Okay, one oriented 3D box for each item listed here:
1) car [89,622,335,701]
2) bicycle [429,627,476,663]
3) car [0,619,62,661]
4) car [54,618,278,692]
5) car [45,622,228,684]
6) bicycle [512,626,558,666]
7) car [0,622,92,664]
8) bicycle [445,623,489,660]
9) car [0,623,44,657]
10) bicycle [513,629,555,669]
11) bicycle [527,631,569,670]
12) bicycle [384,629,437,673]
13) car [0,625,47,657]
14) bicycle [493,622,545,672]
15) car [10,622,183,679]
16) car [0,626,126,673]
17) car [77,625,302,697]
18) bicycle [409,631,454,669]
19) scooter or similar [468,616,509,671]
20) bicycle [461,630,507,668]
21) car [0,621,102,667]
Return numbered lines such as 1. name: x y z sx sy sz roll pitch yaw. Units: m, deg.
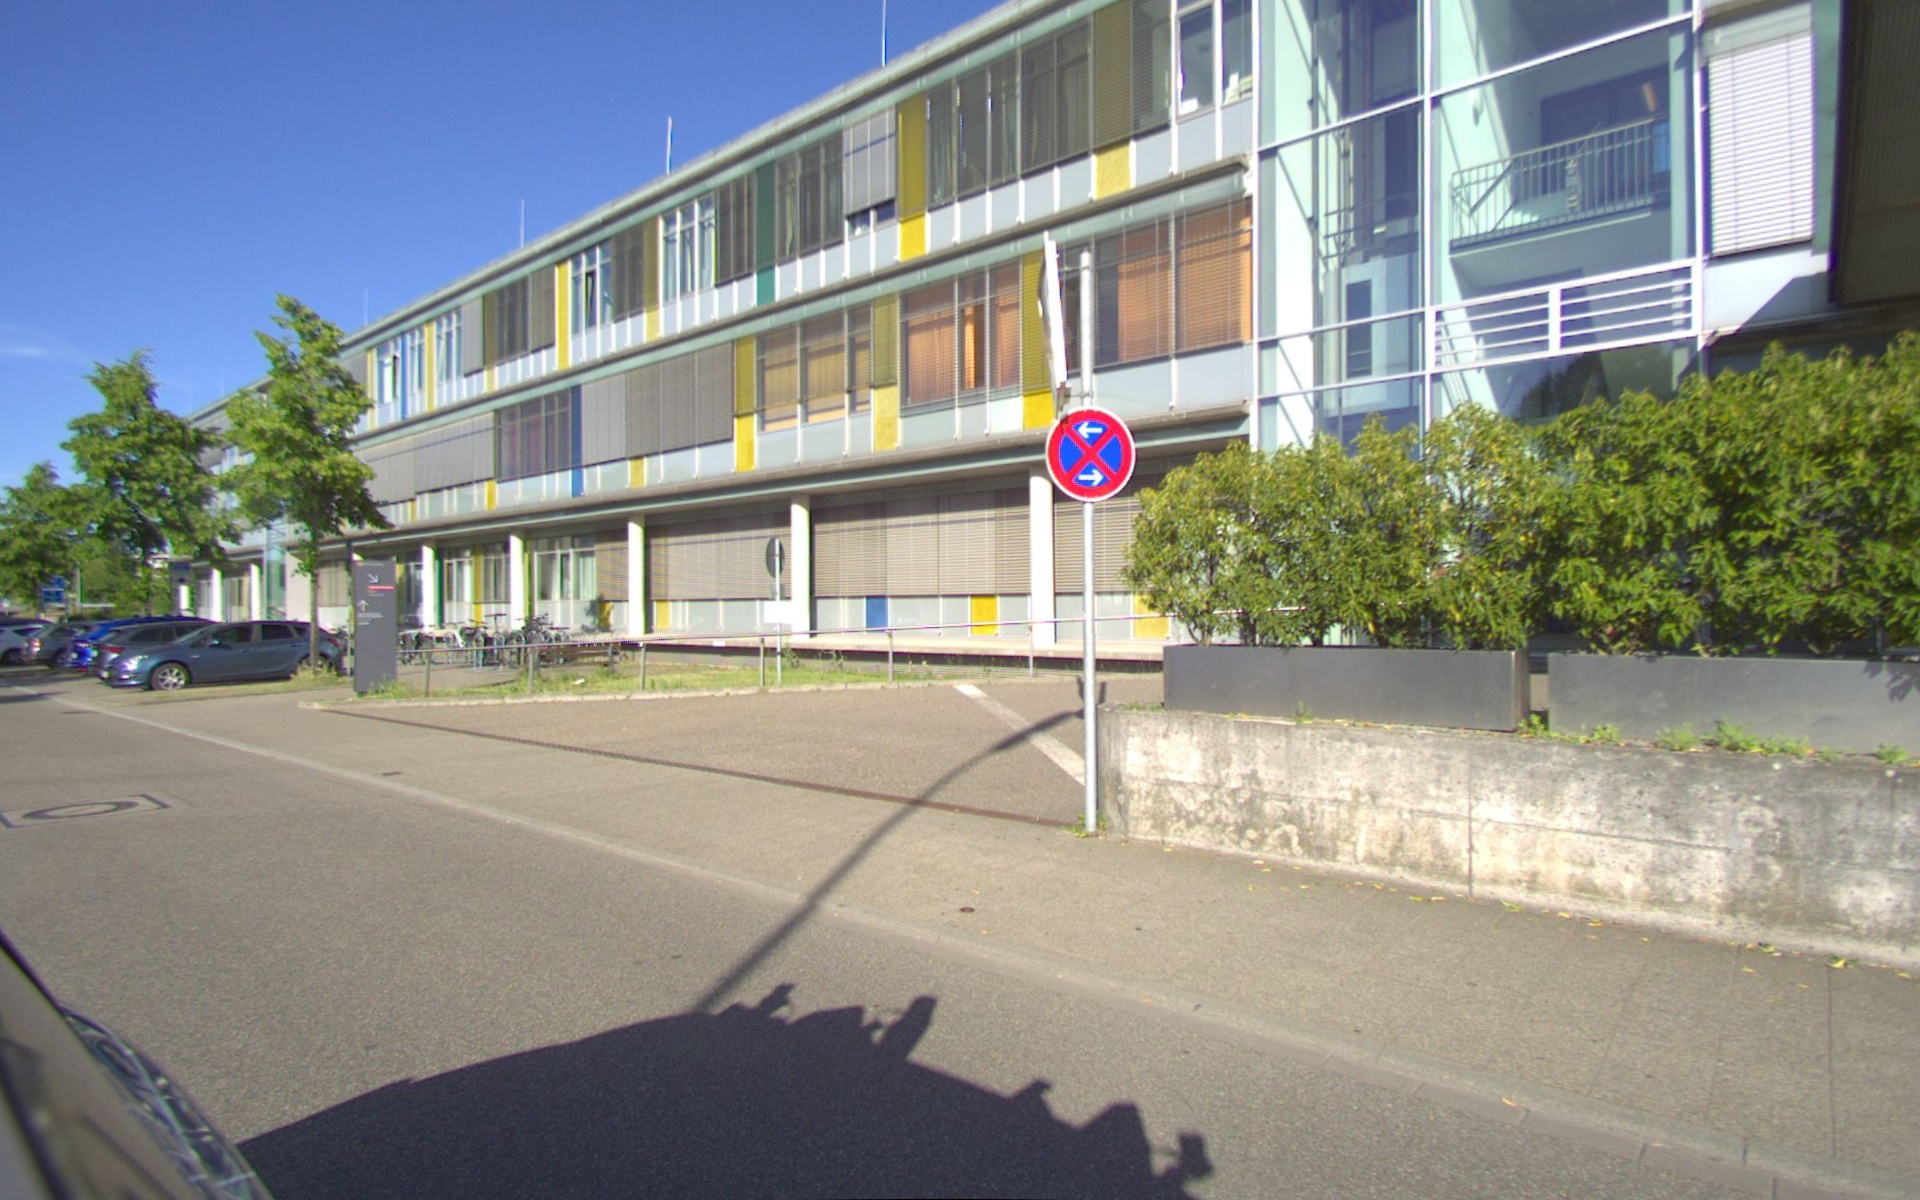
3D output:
1. car: -16.437 1.280 22.399 1.752 1.478 4.090 -1 0 39
2. bicycle: -16.061 1.409 32.009 1.854 1.104 0.640 -1 -2 40
3. car: -44.928 1.911 47.198 1.999 1.877 4.303 -2 1 41
4. car: -20.157 1.329 25.834 1.957 1.664 4.180 -1 -1 38
5. car: -23.656 1.462 29.194 1.773 1.499 3.712 -1 1 32
6. bicycle: -12.559 1.357 29.905 1.854 1.144 0.443 -1 -2 40
7. car: -39.793 1.824 42.802 1.996 1.602 4.309 -2 1 36
8. bicycle: -16.661 1.385 34.172 1.854 1.208 0.640 -1 -2 40
9. car: -51.095 2.164 53.162 4.298 1.659 2.001 -2 1 -45
10. bicycle: -11.328 1.293 26.872 1.394 1.030 0.349 -1 -2 36
11. bicycle: -11.084 1.356 27.213 1.394 1.030 0.349 -1 -2 36
12. bicycle: -14.716 1.345 27.108 1.778 1.151 0.629 -1 -2 40
13. car: -48.947 2.123 50.988 4.298 1.471 2.001 -2 1 -45
14. bicycle: -11.140 1.194 25.538 1.647 1.056 0.349 -12 -8 35
15. car: -27.644 1.568 32.507 1.821 1.499 3.943 -1 1 39
16. car: -33.160 1.781 36.818 1.821 1.433 4.051 -1 1 39
17. car: -18.214 1.373 24.073 1.729 1.448 3.949 -1 0 38
18. bicycle: -14.379 1.347 27.528 1.778 1.023 0.422 -1 -2 40
19. scooter or similar: -11.443 1.045 24.565 1.205 1.283 0.465 -2 -2 42
20. bicycle: -13.145 1.342 27.937 1.778 1.023 0.443 -1 -2 40
21. car: -37.589 1.777 40.750 1.996 1.639 4.309 -1 1 36
